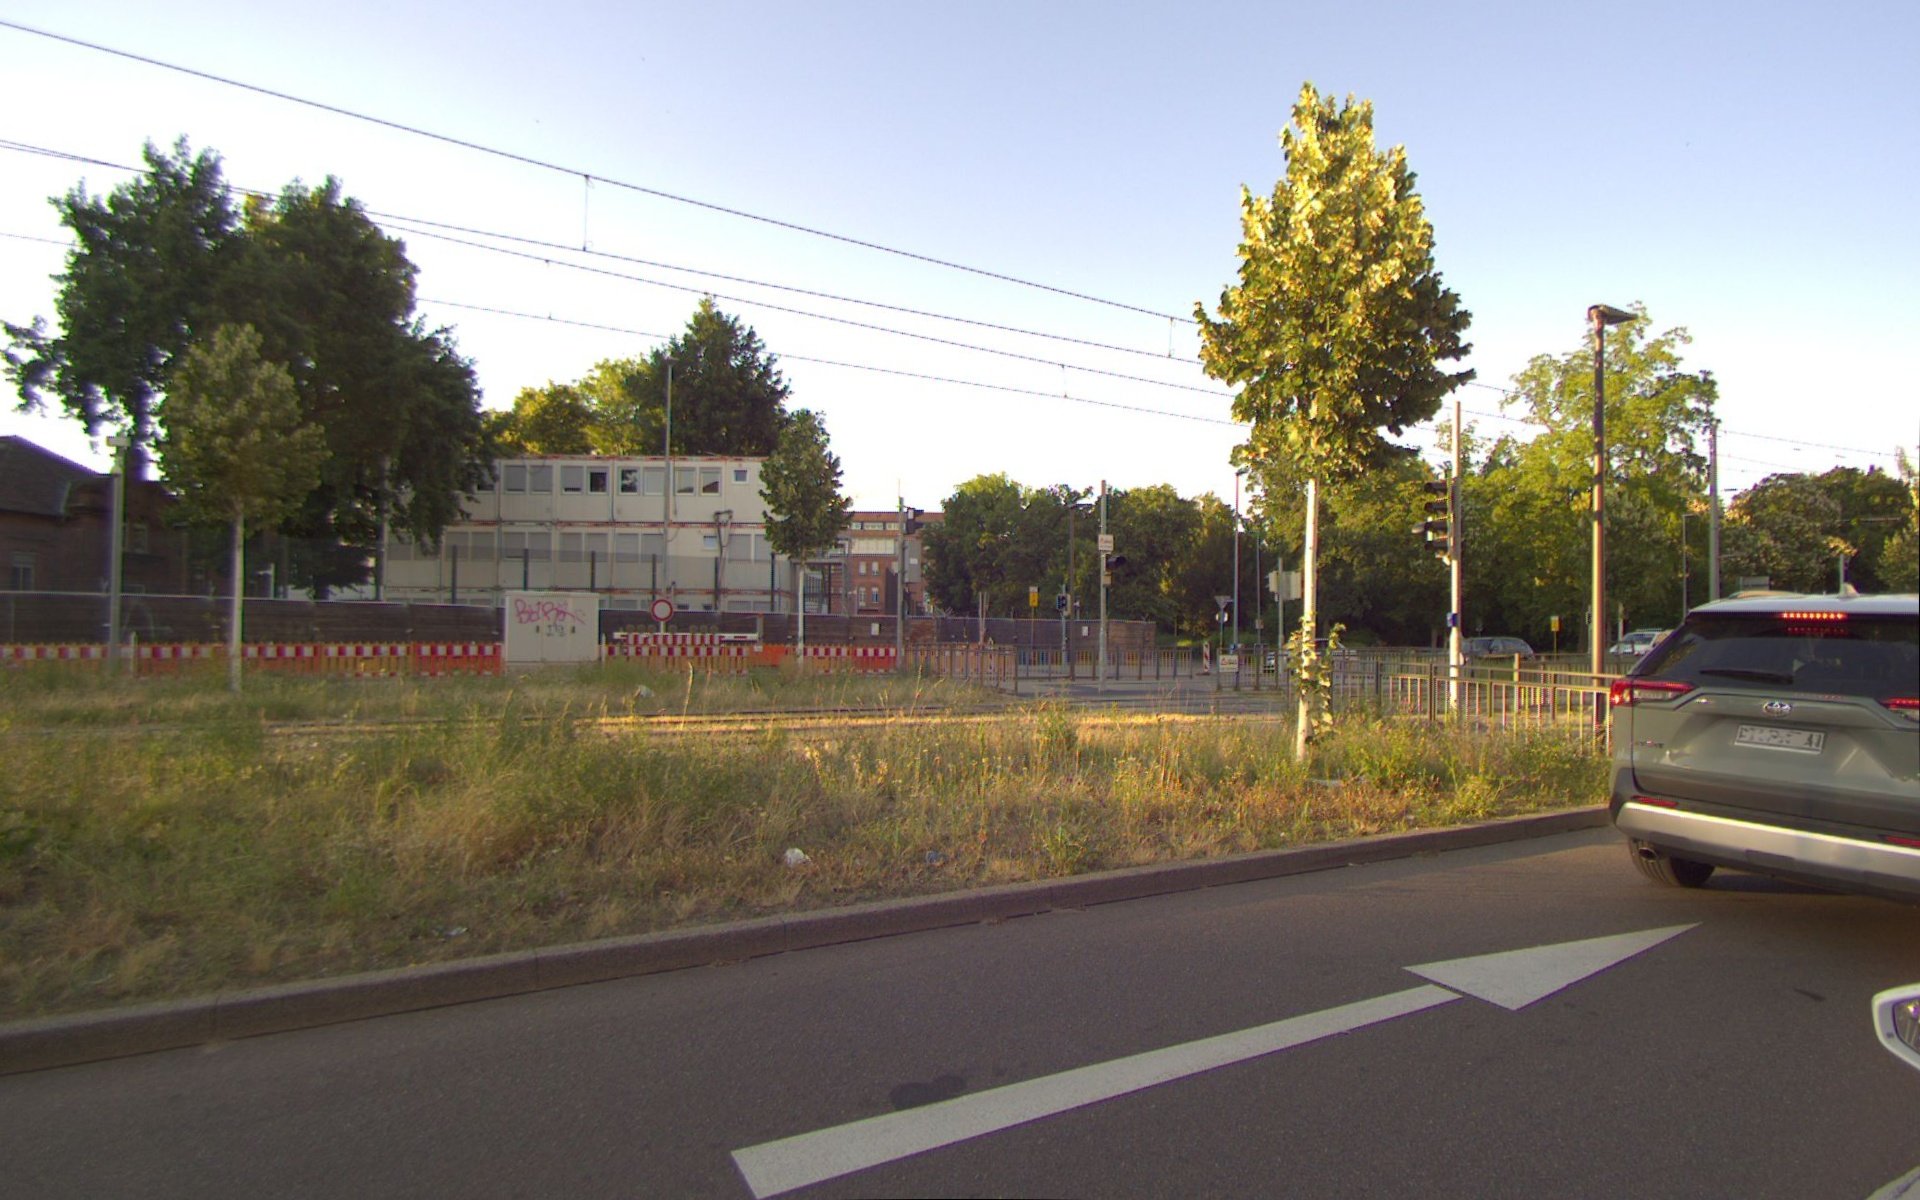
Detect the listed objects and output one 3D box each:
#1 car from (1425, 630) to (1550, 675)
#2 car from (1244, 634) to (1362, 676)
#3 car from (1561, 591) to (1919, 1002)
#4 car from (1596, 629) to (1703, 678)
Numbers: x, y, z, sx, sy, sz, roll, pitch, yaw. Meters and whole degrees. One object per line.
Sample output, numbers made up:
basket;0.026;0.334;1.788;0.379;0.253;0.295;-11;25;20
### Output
car;19.582;1.905;37.271;4.466;1.501;1.985;0;0;-28
car;13.747;2.165;40.193;4.466;1.501;1.985;0;0;-29
car;5.471;0.811;5.651;4.219;1.681;1.845;0;0;-31
car;32.894;2.502;47.947;4.681;2.197;1.990;0;0;-22
